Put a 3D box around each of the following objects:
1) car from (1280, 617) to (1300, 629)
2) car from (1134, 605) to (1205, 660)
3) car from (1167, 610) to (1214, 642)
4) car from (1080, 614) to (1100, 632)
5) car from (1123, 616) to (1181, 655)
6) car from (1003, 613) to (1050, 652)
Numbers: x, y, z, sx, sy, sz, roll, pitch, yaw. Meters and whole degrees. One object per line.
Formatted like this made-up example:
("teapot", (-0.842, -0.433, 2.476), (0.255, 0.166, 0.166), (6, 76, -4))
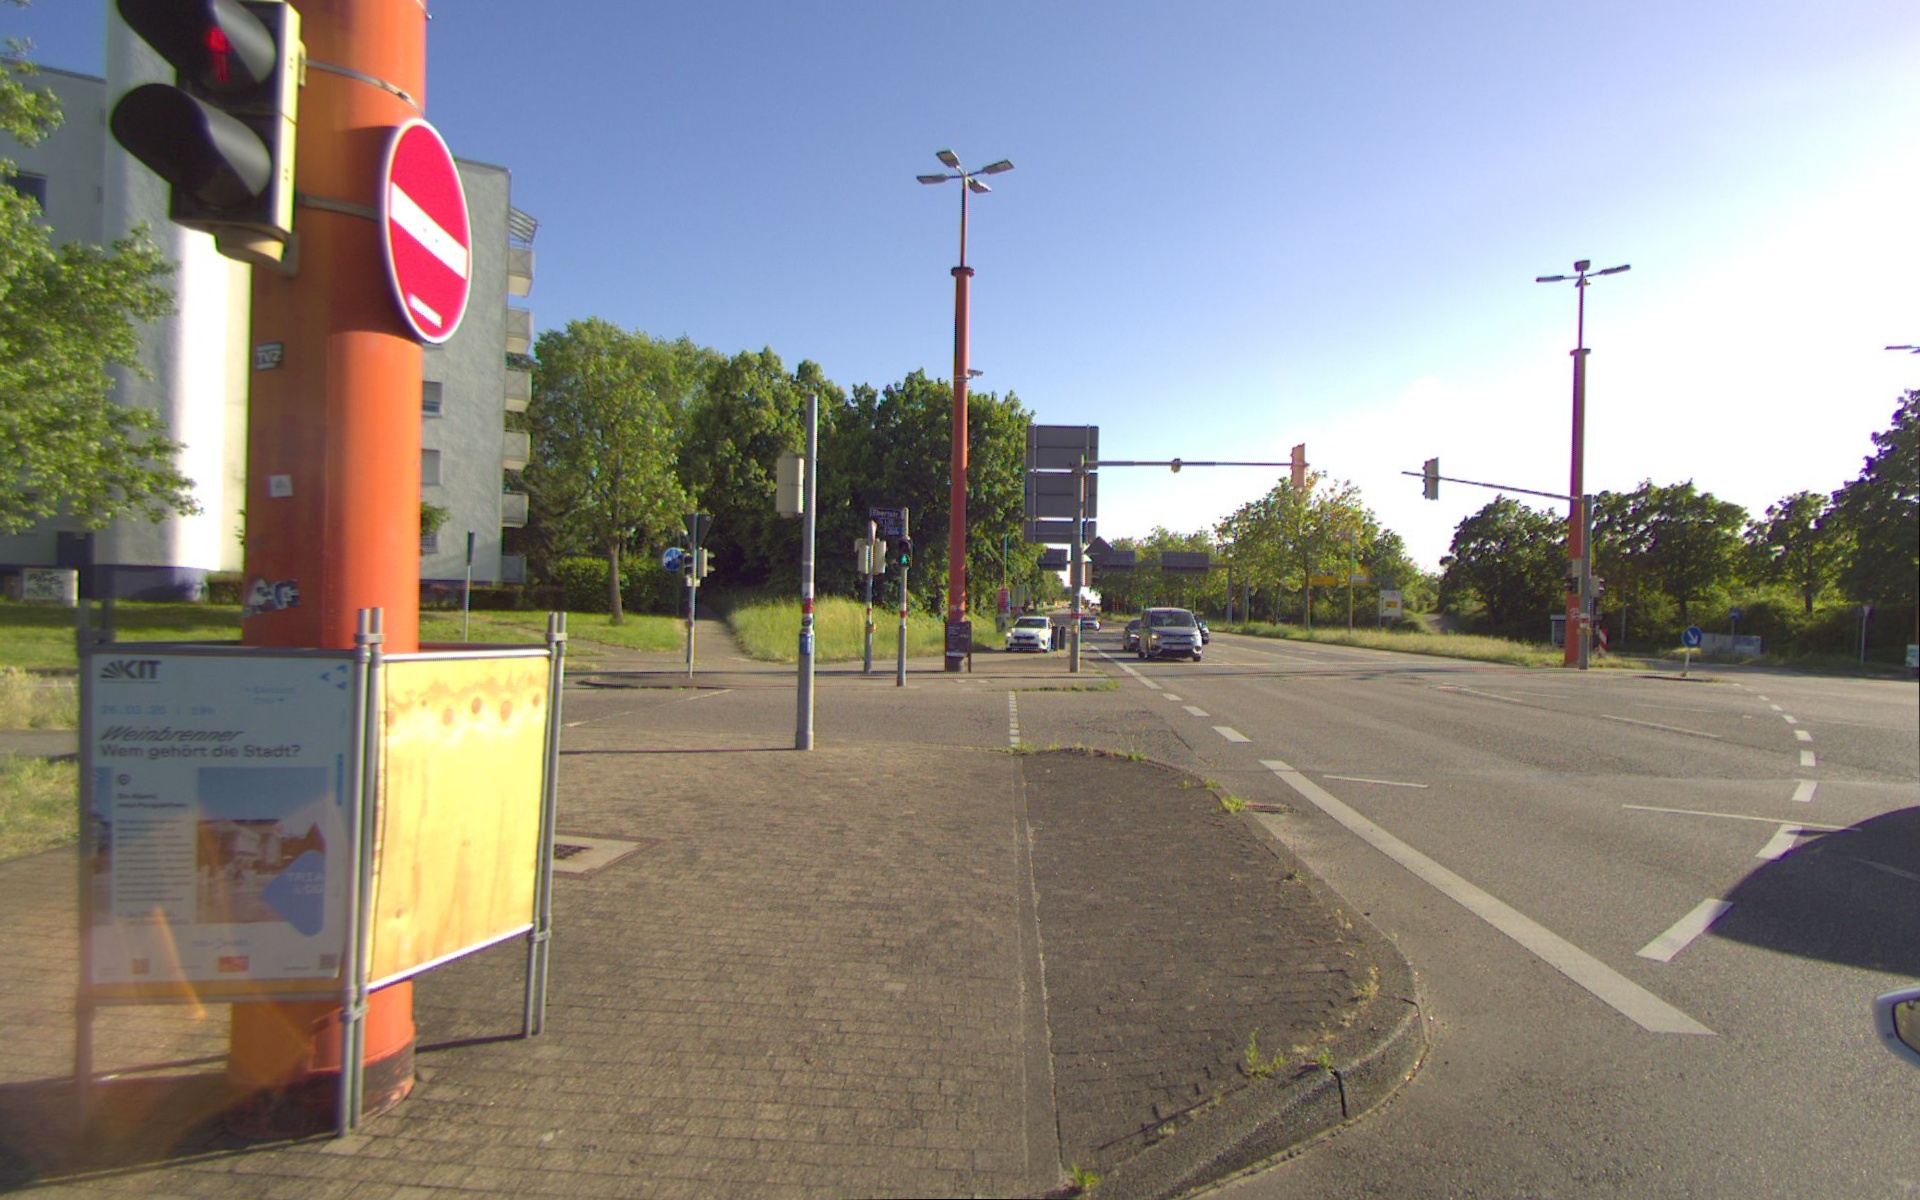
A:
("car", (44.425, 3.130, 135.353), (1.737, 1.483, 4.368), (1, 0, 6))
("car", (7.219, 1.084, 34.970), (1.866, 1.799, 4.449), (0, -1, 4))
("car", (12.542, 1.381, 54.836), (1.866, 1.632, 4.567), (0, -1, 4))
("car", (12.427, 2.163, 95.923), (1.866, 1.632, 4.568), (0, -1, 8))
("car", (7.941, 1.434, 41.936), (1.866, 1.494, 4.567), (0, -1, 4))
("car", (2.787, 1.322, 42.268), (1.866, 1.571, 4.262), (0, -1, 3))
